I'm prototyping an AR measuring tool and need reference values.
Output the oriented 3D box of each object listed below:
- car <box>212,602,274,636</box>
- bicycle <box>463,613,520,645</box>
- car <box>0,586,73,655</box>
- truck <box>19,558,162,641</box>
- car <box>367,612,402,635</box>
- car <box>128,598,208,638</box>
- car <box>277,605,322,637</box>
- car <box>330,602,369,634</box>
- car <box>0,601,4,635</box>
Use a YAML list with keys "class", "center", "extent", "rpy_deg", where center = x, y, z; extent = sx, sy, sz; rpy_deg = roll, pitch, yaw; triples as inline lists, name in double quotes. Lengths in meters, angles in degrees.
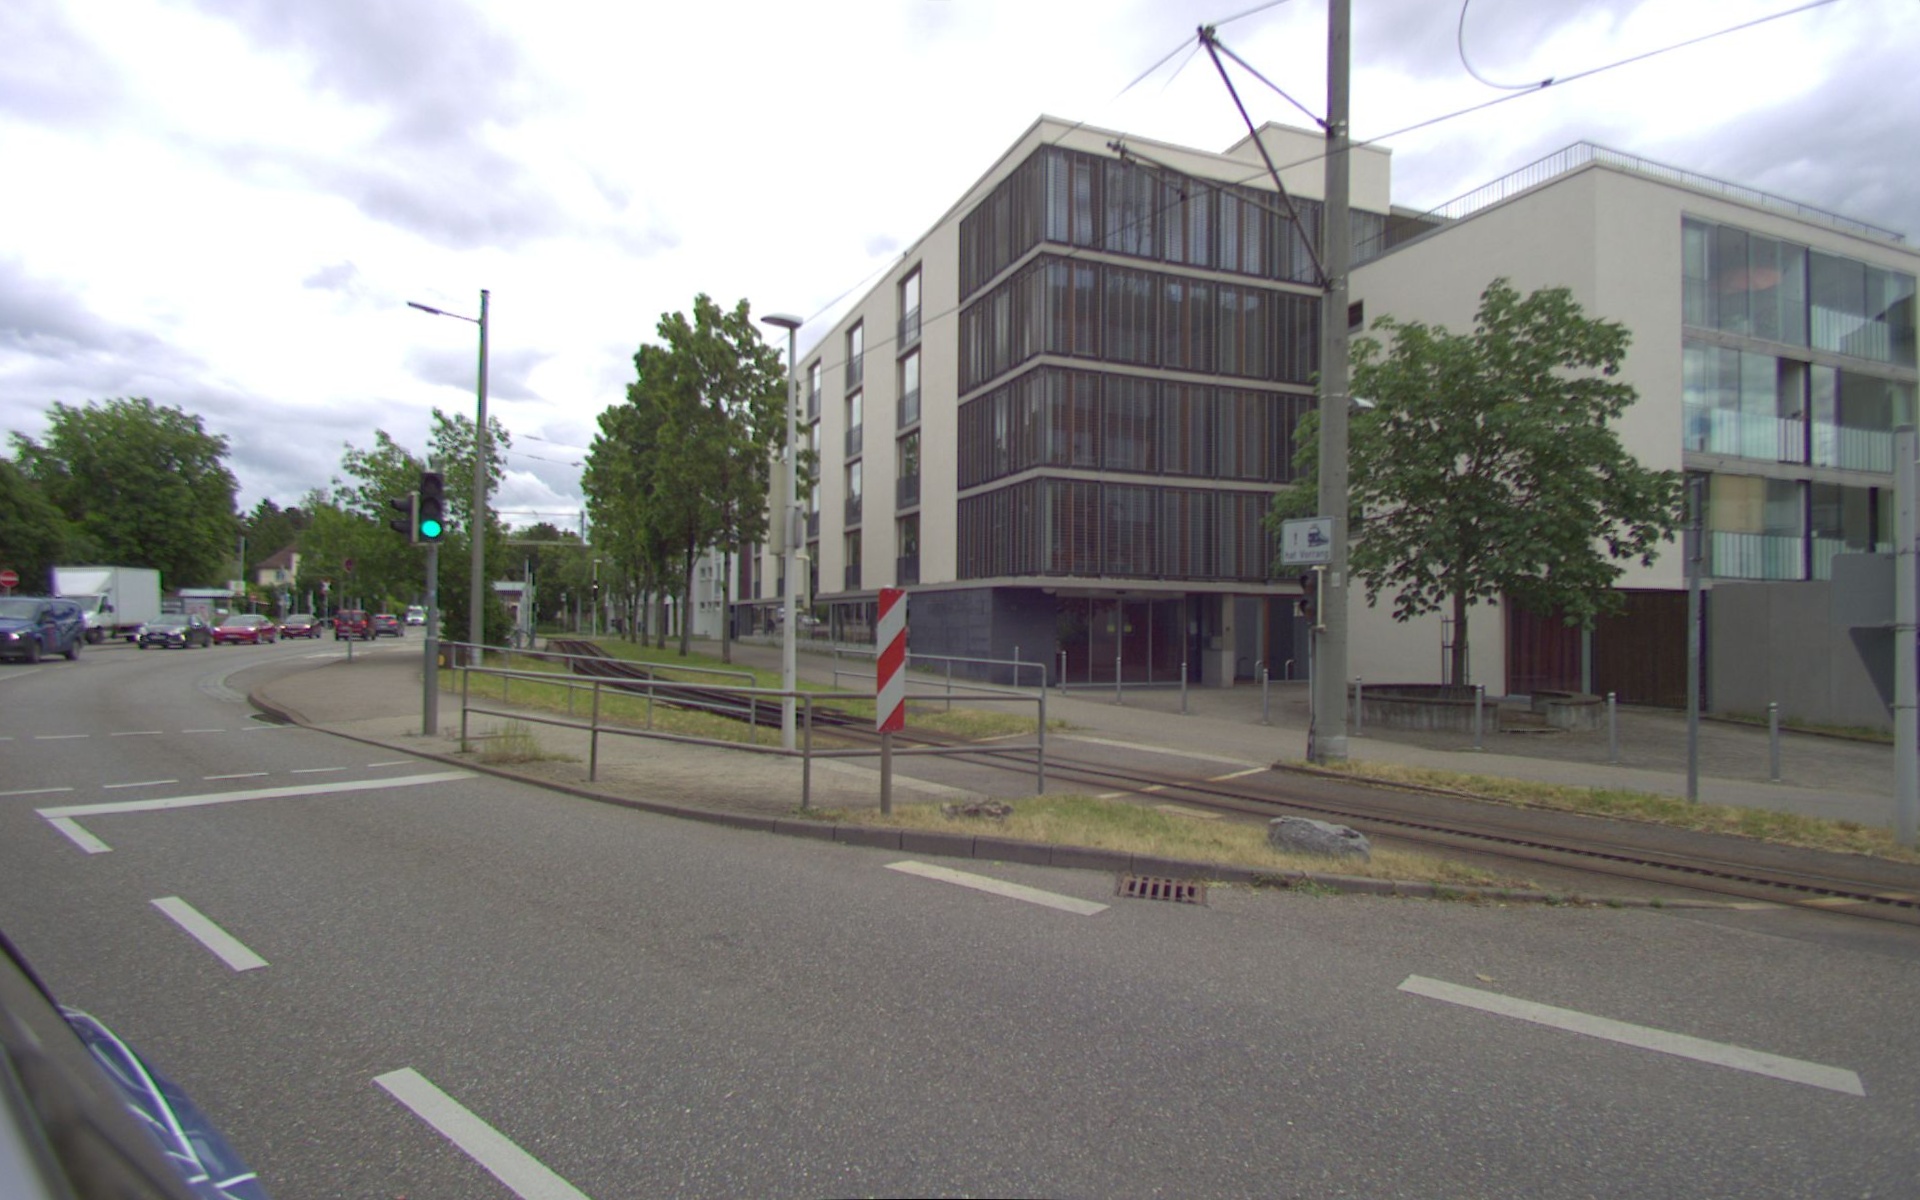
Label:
- class: "car"
  center: [-34.875, 0.938, 49.326]
  extent: [1.819, 1.546, 4.013]
  rpy_deg: [3, -2, -26]
- class: "bicycle"
  center: [-16.002, 0.987, 34.574]
  extent: [1.724, 1.054, 0.409]
  rpy_deg: [-1, 0, -20]
- class: "car"
  center: [-27.117, 0.549, 28.866]
  extent: [1.819, 1.875, 4.013]
  rpy_deg: [1, 0, -28]
- class: "truck"
  center: [-39.138, -0.052, 45.899]
  extent: [2.499, 3.452, 7.802]
  rpy_deg: [0, 0, -22]
- class: "car"
  center: [-40.212, 1.635, 70.792]
  extent: [1.743, 1.490, 4.013]
  rpy_deg: [2, -1, -24]
- class: "car"
  center: [-33.167, 0.766, 42.495]
  extent: [1.819, 1.546, 4.013]
  rpy_deg: [3, -2, -26]
- class: "car"
  center: [-41.285, 1.275, 63.303]
  extent: [1.819, 1.875, 4.272]
  rpy_deg: [1, 0, -26]
- class: "car"
  center: [-36.833, 1.085, 61.150]
  extent: [1.657, 1.822, 4.366]
  rpy_deg: [3, -1, -27]
- class: "car"
  center: [-44.739, 0.850, 44.455]
  extent: [1.683, 1.494, 3.843]
  rpy_deg: [0, 2, 43]
